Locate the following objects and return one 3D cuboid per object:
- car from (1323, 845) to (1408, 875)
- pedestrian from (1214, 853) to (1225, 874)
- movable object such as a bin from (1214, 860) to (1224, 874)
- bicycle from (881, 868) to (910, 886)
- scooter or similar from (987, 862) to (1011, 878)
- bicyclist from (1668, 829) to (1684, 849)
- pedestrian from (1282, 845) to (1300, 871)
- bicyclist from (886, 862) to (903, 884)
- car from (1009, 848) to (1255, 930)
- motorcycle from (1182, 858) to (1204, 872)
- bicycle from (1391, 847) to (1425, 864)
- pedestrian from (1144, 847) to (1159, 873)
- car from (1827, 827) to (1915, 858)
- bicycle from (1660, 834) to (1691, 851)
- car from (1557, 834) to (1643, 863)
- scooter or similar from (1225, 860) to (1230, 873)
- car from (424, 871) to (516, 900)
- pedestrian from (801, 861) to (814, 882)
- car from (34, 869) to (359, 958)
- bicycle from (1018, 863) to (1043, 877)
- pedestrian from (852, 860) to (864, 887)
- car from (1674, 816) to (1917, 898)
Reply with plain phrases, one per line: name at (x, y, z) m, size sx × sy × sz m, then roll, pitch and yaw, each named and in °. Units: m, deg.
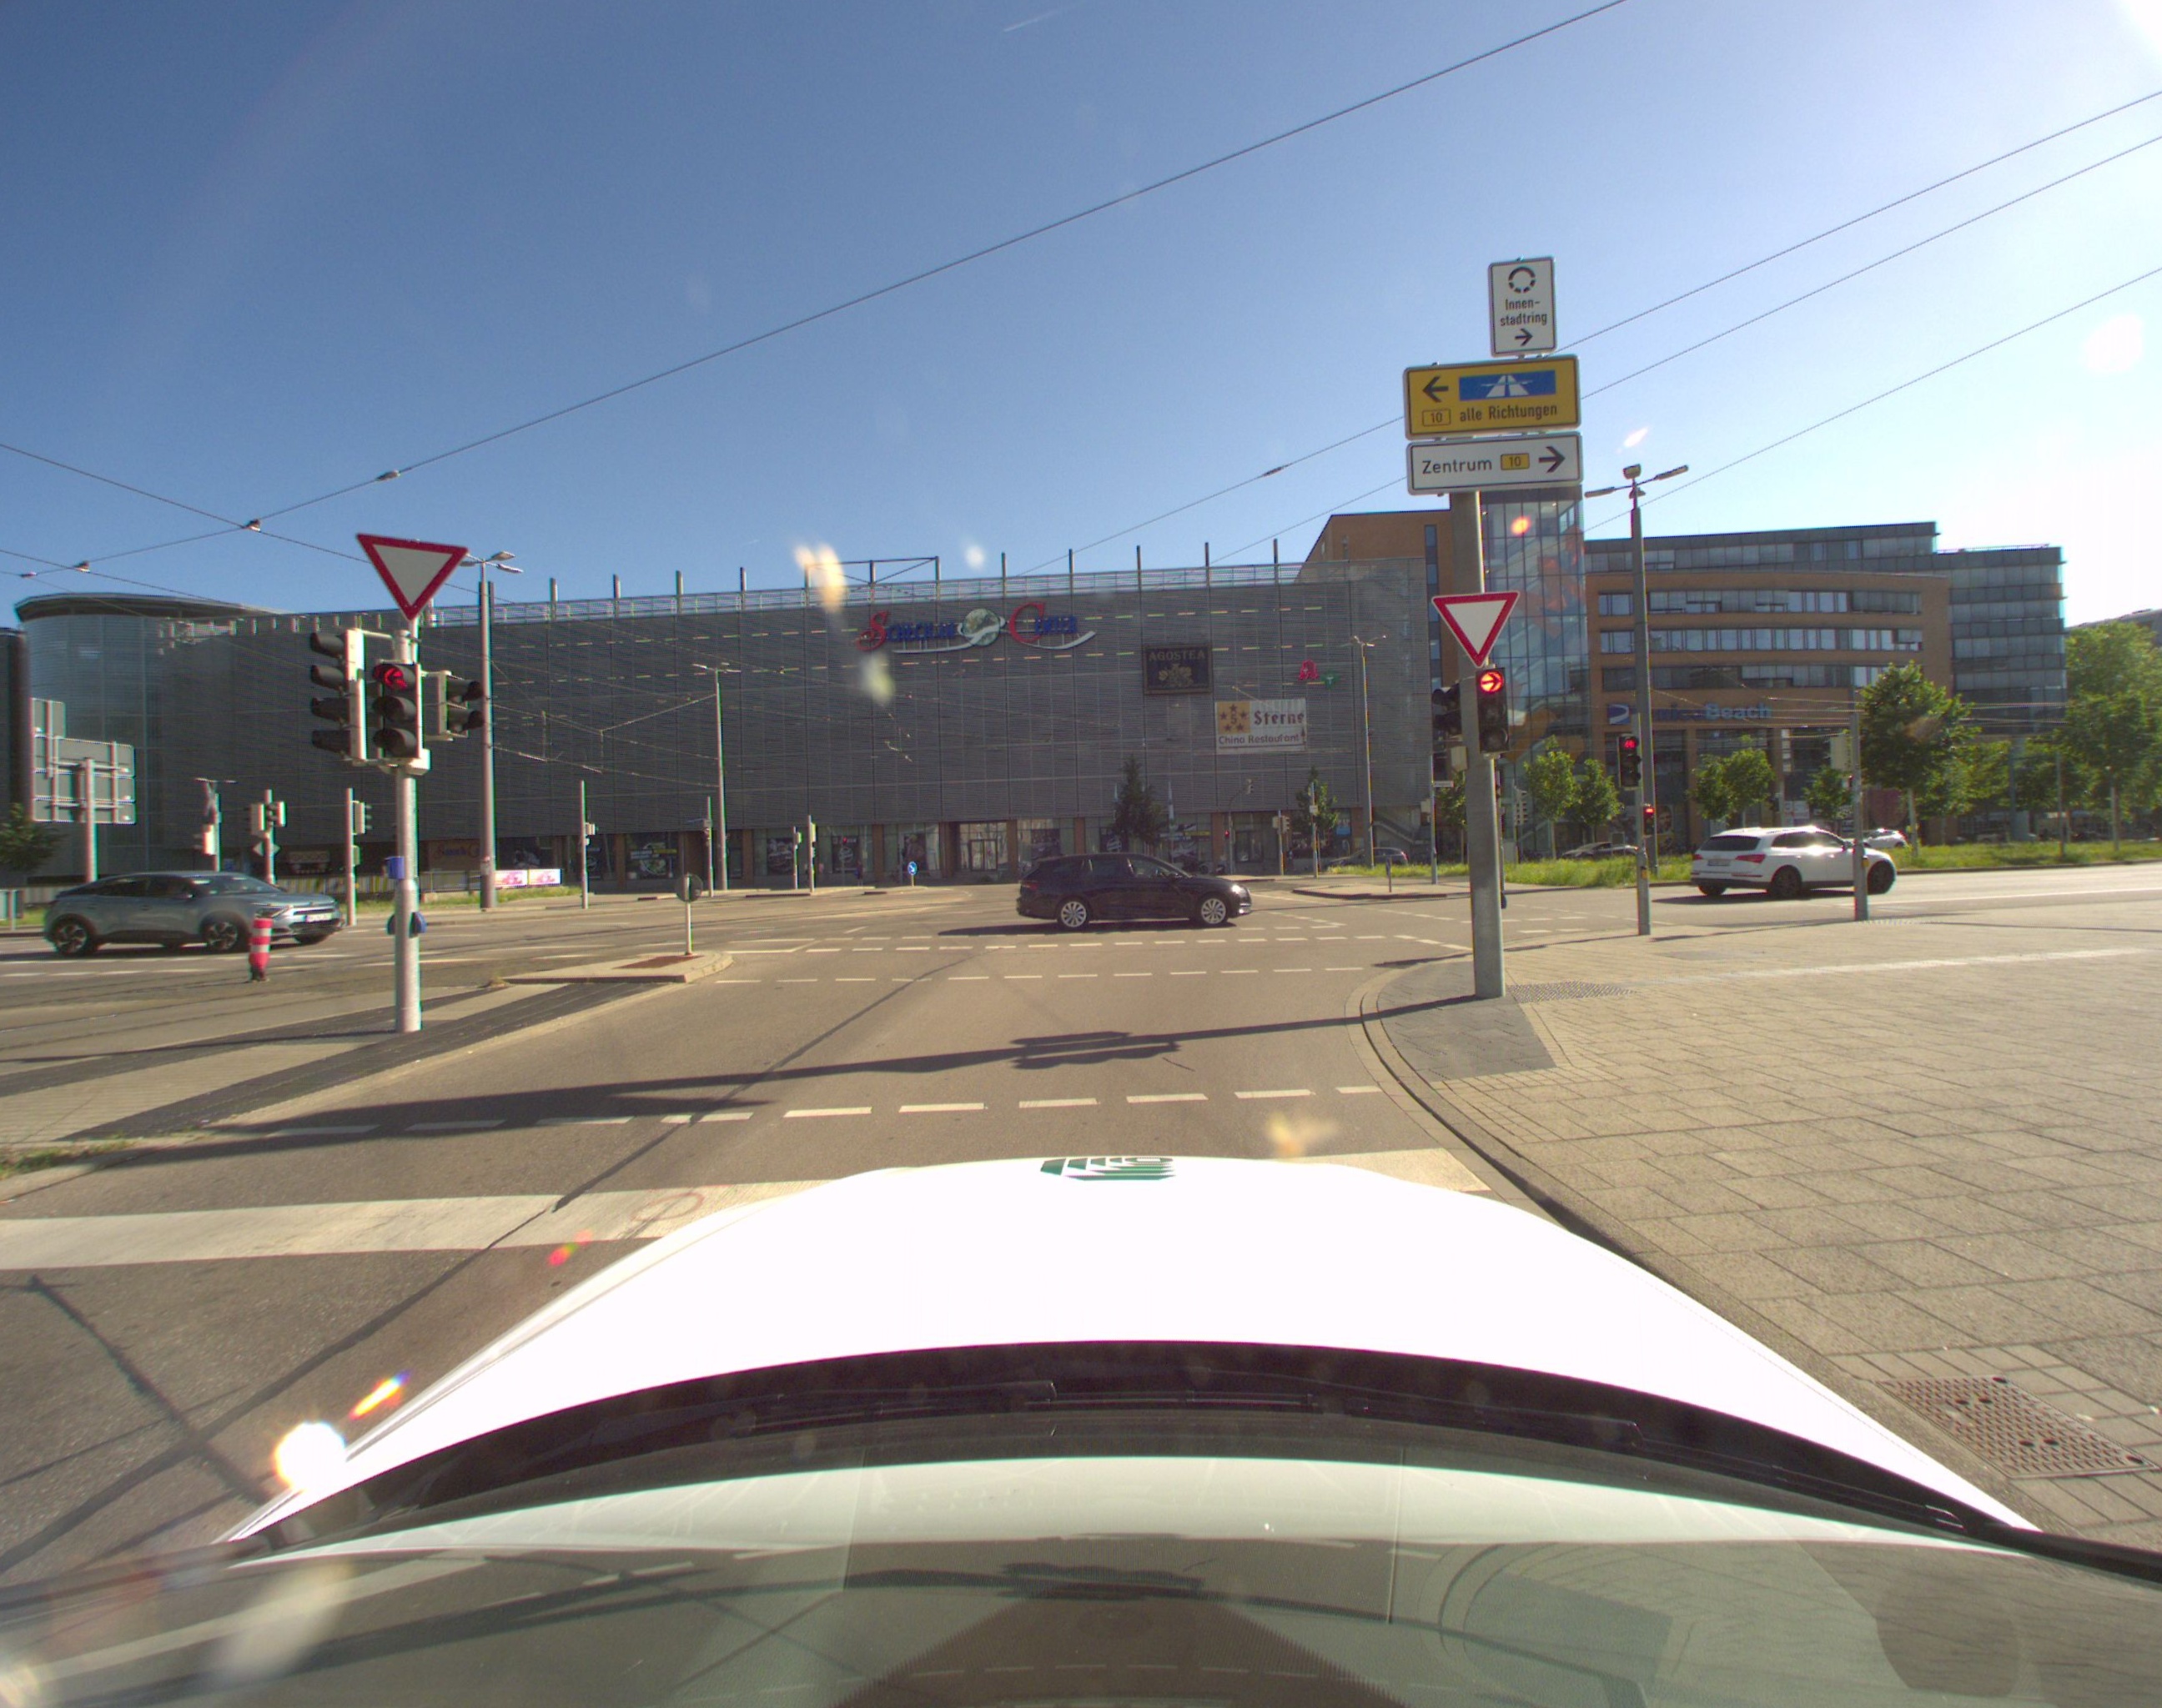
car at (15.885, 0.345, 45.620) m, size 4.132 × 1.470 × 1.841 m, roll 2°, pitch -1°, yaw 0°
pedestrian at (9.407, 0.627, 55.203) m, size 0.650 × 1.414 × 0.853 m, roll -1°, pitch -1°, yaw 12°
movable object such as a bin at (9.274, 0.877, 54.740) m, size 0.608 × 0.904 × 0.972 m, roll -1°, pitch -1°, yaw 12°
bicycle at (-12.583, 1.579, 55.312) m, size 0.562 × 1.086 × 1.874 m, roll -1°, pitch 2°, yaw 45°
scooter or similar at (-6.181, 1.198, 61.233) m, size 1.790 × 1.066 × 0.611 m, roll -2°, pitch 1°, yaw -6°
bicyclist at (43.588, -1.102, 59.641) m, size 0.750 × 1.386 × 0.566 m, roll -2°, pitch 1°, yaw 1°
pedestrian at (15.099, 0.269, 58.675) m, size 1.007 × 1.828 × 1.037 m, roll -3°, pitch 0°, yaw 5°
bicyclist at (-12.626, 1.268, 55.239) m, size 0.667 × 1.427 × 0.855 m, roll -1°, pitch 2°, yaw 45°
car at (0.951, 0.654, 16.340) m, size 4.658 × 1.462 × 1.831 m, roll -1°, pitch 0°, yaw -3°
motorcycle at (8.315, 0.826, 60.596) m, size 1.630 × 1.004 × 0.448 m, roll 0°, pitch 0°, yaw 8°
bicycle at (24.346, 0.108, 60.618) m, size 2.247 × 1.296 × 0.606 m, roll 0°, pitch -1°, yaw 0°
pedestrian at (5.186, 0.426, 59.618) m, size 0.945 × 1.829 × 0.847 m, roll -3°, pitch -4°, yaw 7°
car at (50.448, -0.732, 52.028) m, size 4.326 × 1.863 × 1.834 m, roll -1°, pitch -1°, yaw -10°
bicycle at (43.560, -0.849, 59.648) m, size 1.850 × 1.217 × 0.569 m, roll -2°, pitch 1°, yaw 1°
car at (31.692, -0.340, 49.796) m, size 4.284 × 1.584 × 1.836 m, roll 2°, pitch -1°, yaw -7°
scooter or similar at (9.923, 0.865, 55.008) m, size 0.293 × 0.873 × 1.007 m, roll -1°, pitch -1°, yaw 12°
car at (-37.977, 1.955, 50.669) m, size 4.274 × 1.645 × 1.841 m, roll 2°, pitch -1°, yaw 1°
pedestrian at (-20.974, 1.375, 62.472) m, size 0.654 × 1.601 × 0.597 m, roll -1°, pitch -1°, yaw 20°
car at (-16.737, 1.093, 15.580) m, size 4.251 × 1.514 × 1.708 m, roll -1°, pitch 0°, yaw -1°
bicycle at (-3.779, 1.169, 60.791) m, size 1.815 × 0.989 × 0.556 m, roll -2°, pitch 1°, yaw -8°
pedestrian at (-15.200, 1.304, 55.463) m, size 0.695 × 1.797 × 0.727 m, roll -3°, pitch 0°, yaw -14°
car at (17.078, 0.044, 19.538) m, size 4.671 × 1.707 × 1.930 m, roll -2°, pitch 0°, yaw -12°
